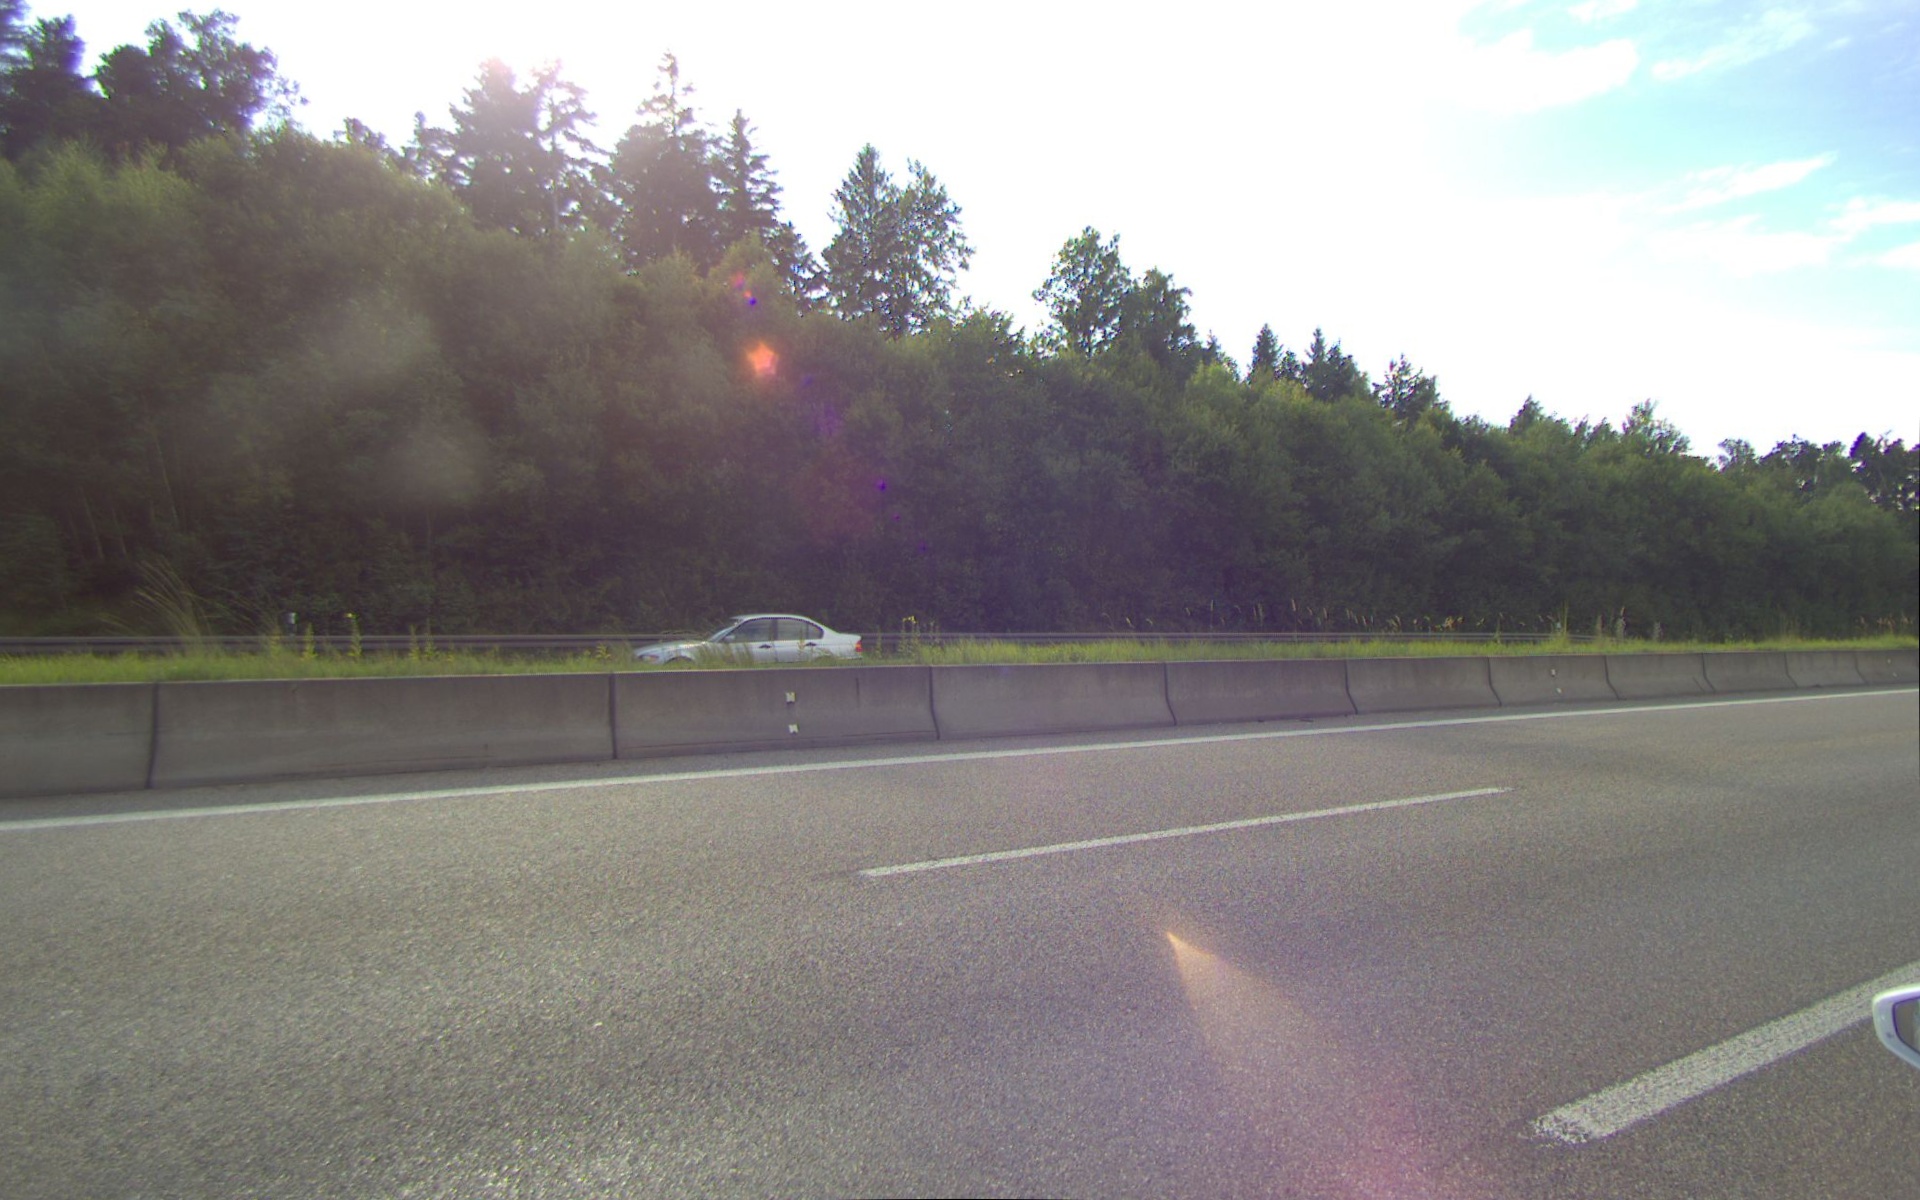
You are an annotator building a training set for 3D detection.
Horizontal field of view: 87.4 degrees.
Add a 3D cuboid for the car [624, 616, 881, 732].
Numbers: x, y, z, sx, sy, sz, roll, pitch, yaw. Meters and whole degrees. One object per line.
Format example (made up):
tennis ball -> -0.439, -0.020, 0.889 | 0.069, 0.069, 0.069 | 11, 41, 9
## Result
car -> -3.870, 1.296, 18.939 | 4.378, 1.930, 1.916 | 1, 0, -31
